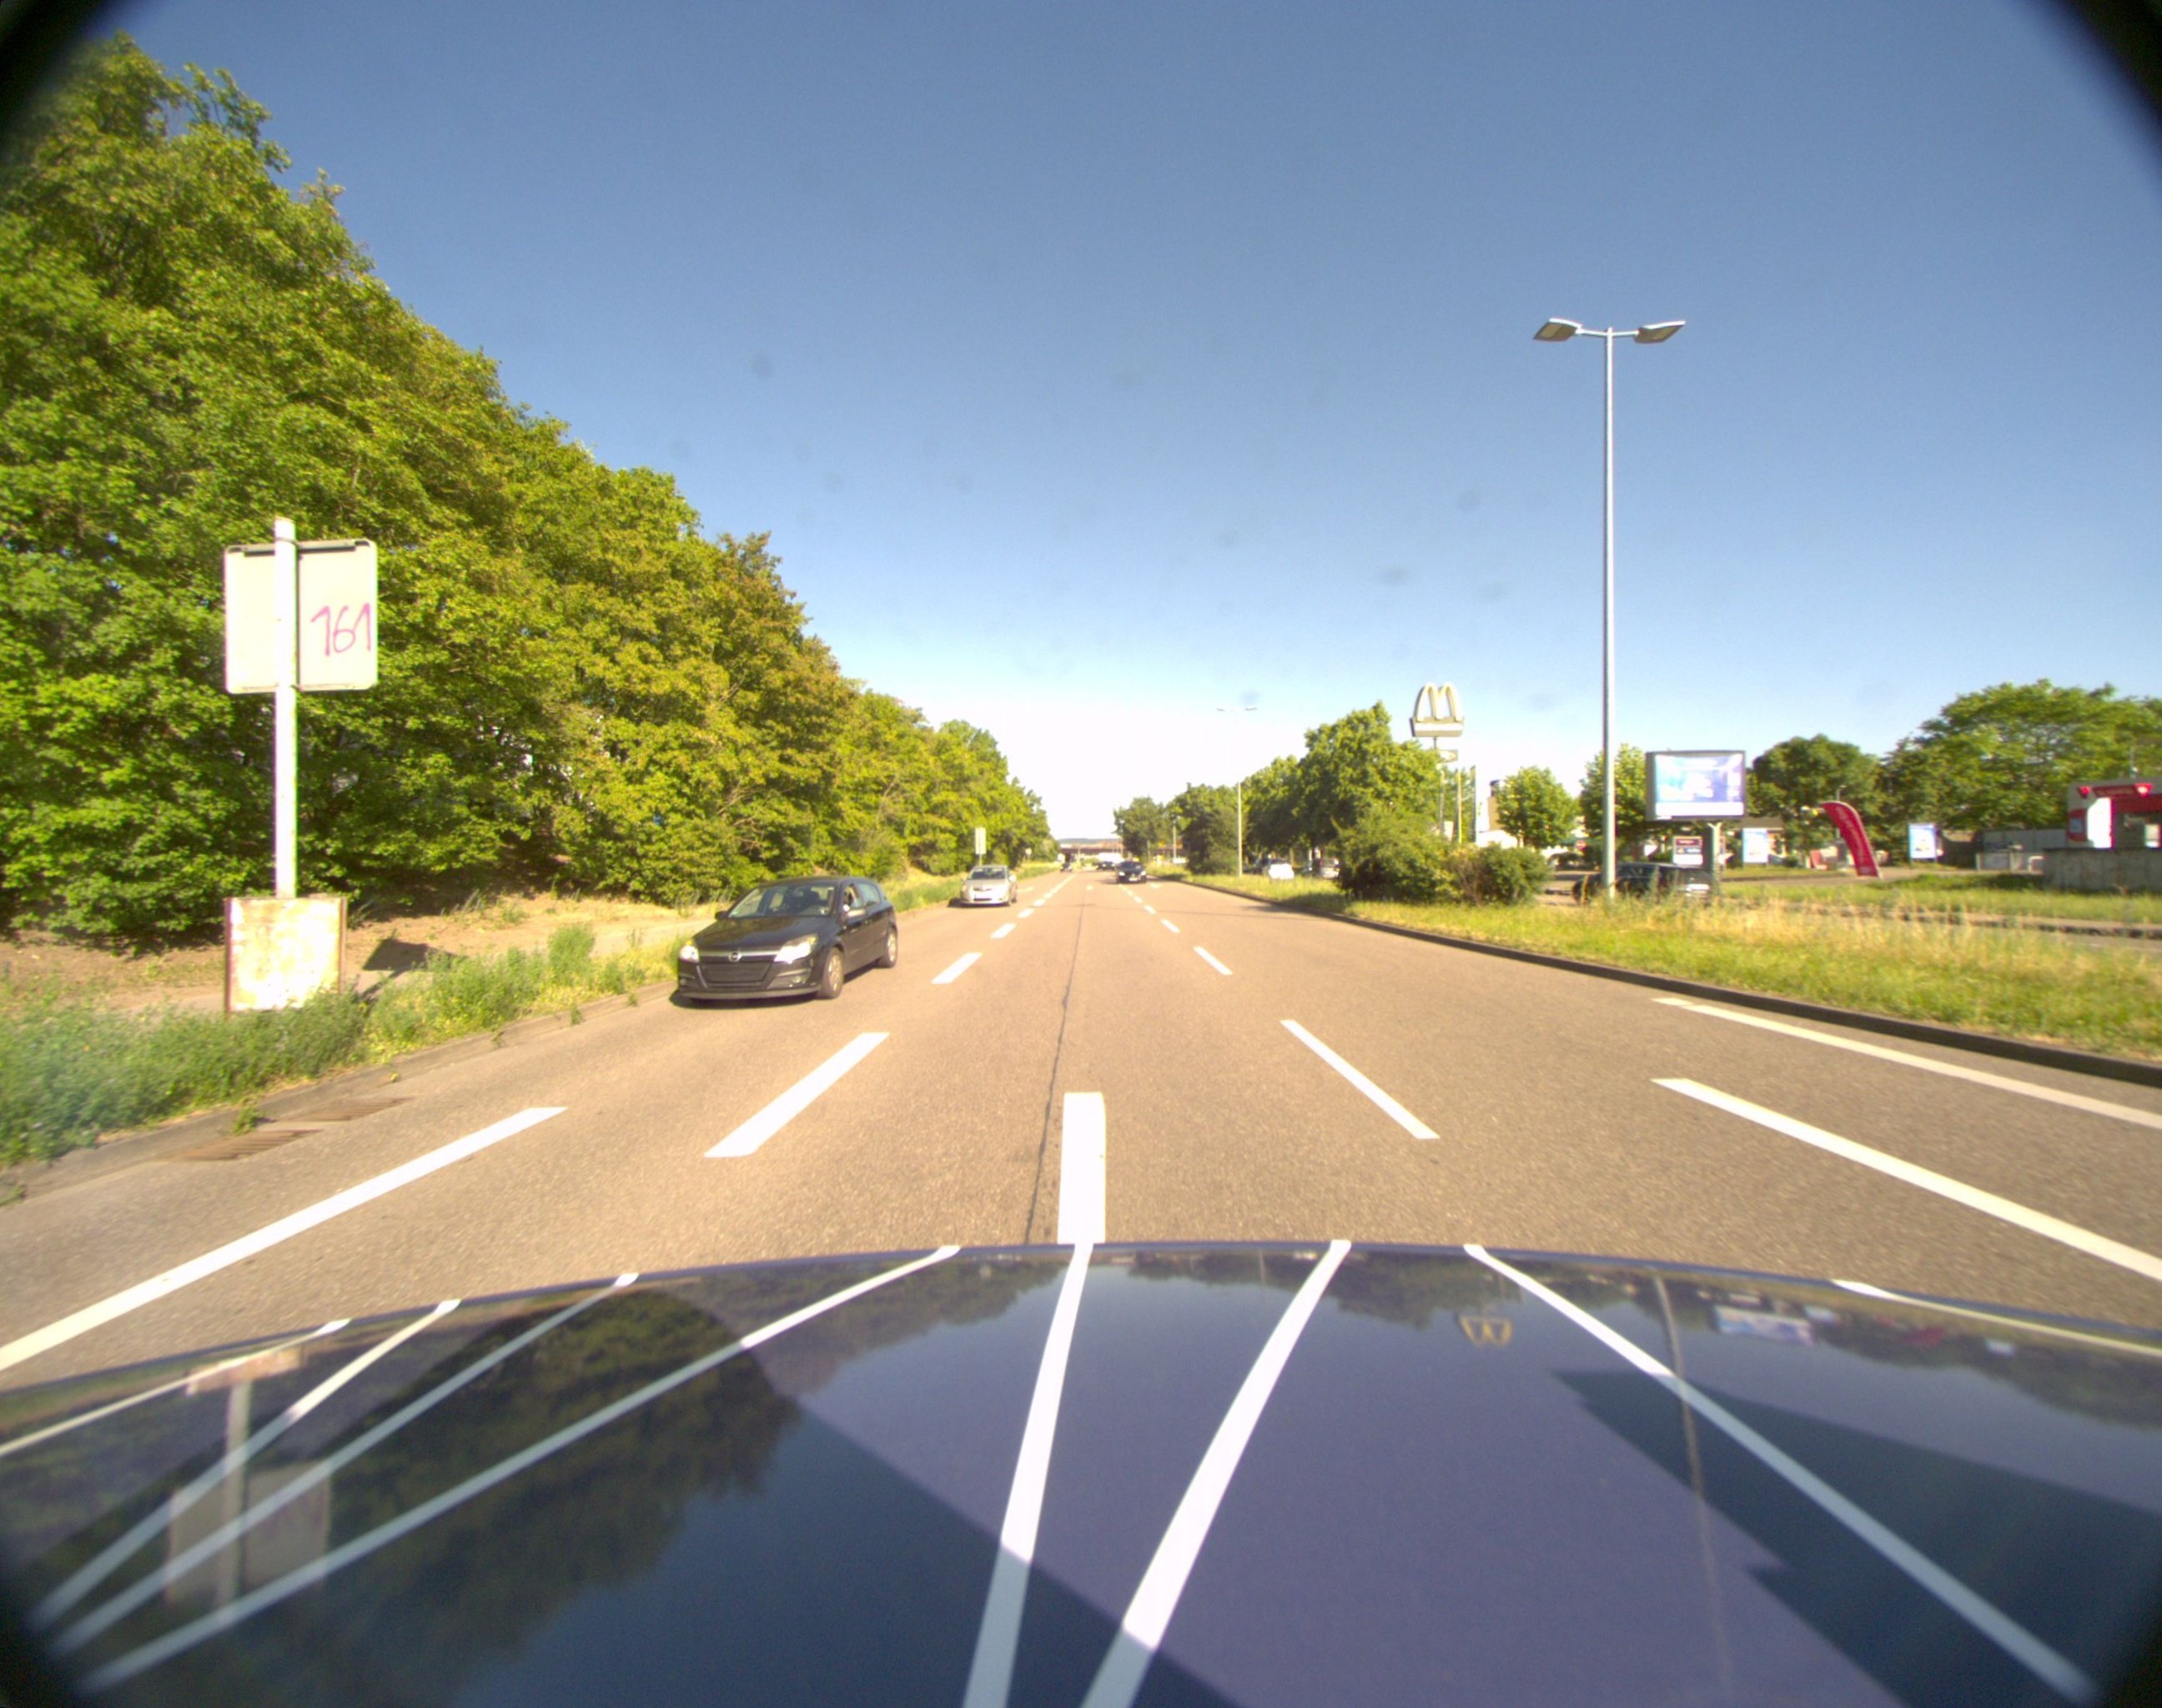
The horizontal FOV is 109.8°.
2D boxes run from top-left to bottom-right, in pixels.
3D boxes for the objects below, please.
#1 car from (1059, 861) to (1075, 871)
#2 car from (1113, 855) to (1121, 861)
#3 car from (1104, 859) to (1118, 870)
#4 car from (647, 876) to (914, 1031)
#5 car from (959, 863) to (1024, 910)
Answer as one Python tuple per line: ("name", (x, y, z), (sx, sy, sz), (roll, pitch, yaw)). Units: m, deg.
("car", (-2.302, 1.903, 122.770), (2.038, 1.601, 4.095), (-2, 0, -9))
("car", (9.091, 1.049, 193.241), (1.998, 1.433, 4.000), (-1, 0, 2))
("car", (4.613, 1.603, 117.911), (2.025, 1.601, 4.098), (-2, 0, 1))
("car", (-3.664, 1.122, 10.224), (1.738, 1.433, 4.371), (-2, 0, 1))
("car", (-3.228, 1.135, 28.207), (1.788, 1.528, 4.108), (-2, 0, 1))
